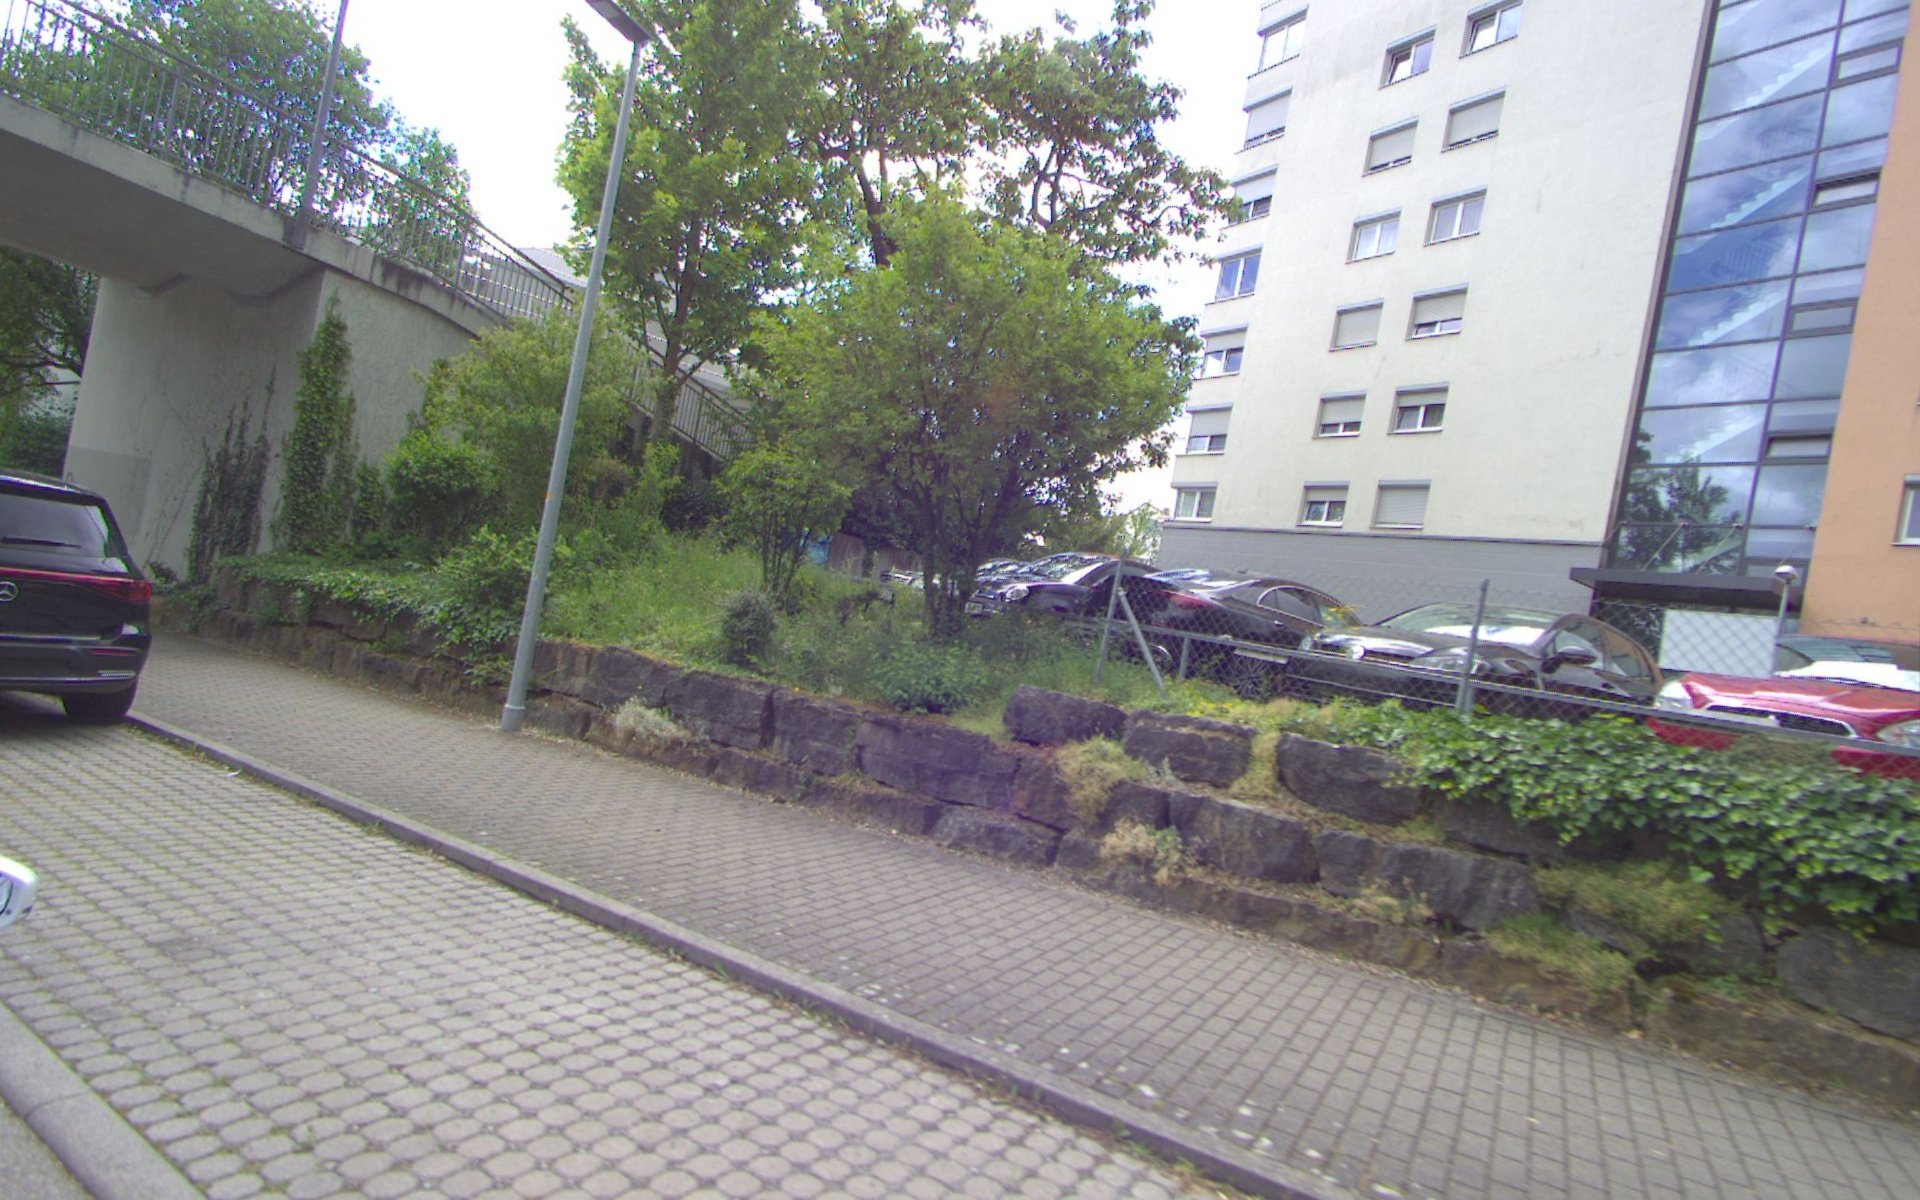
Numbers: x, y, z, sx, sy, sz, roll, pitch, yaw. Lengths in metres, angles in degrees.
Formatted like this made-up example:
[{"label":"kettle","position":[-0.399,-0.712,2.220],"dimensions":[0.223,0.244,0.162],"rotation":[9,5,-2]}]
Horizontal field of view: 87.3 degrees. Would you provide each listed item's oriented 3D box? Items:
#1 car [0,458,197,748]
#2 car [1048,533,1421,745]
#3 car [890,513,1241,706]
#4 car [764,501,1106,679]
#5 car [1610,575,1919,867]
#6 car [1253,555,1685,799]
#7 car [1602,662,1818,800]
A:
[{"label":"car","position":[-7.463,-0.222,6.998],"dimensions":[4.296,1.698,1.817],"rotation":[8,-1,30]},{"label":"car","position":[2.914,0.444,10.398],"dimensions":[3.635,1.514,1.668],"rotation":[12,-2,-36]},{"label":"car","position":[1.395,0.166,12.480],"dimensions":[3.974,1.631,1.924],"rotation":[12,-3,-39]},{"label":"car","position":[-0.249,-0.088,14.521],"dimensions":[4.529,1.686,1.924],"rotation":[12,-3,-39]},{"label":"car","position":[6.138,0.918,6.764],"dimensions":[3.635,1.455,1.668],"rotation":[12,-2,-36]},{"label":"car","position":[4.469,0.714,8.641],"dimensions":[3.772,1.437,1.668],"rotation":[12,-2,-36]},{"label":"car","position":[12.234,2.162,16.319],"dimensions":[4.105,1.611,1.674],"rotation":[12,-2,-38]}]
